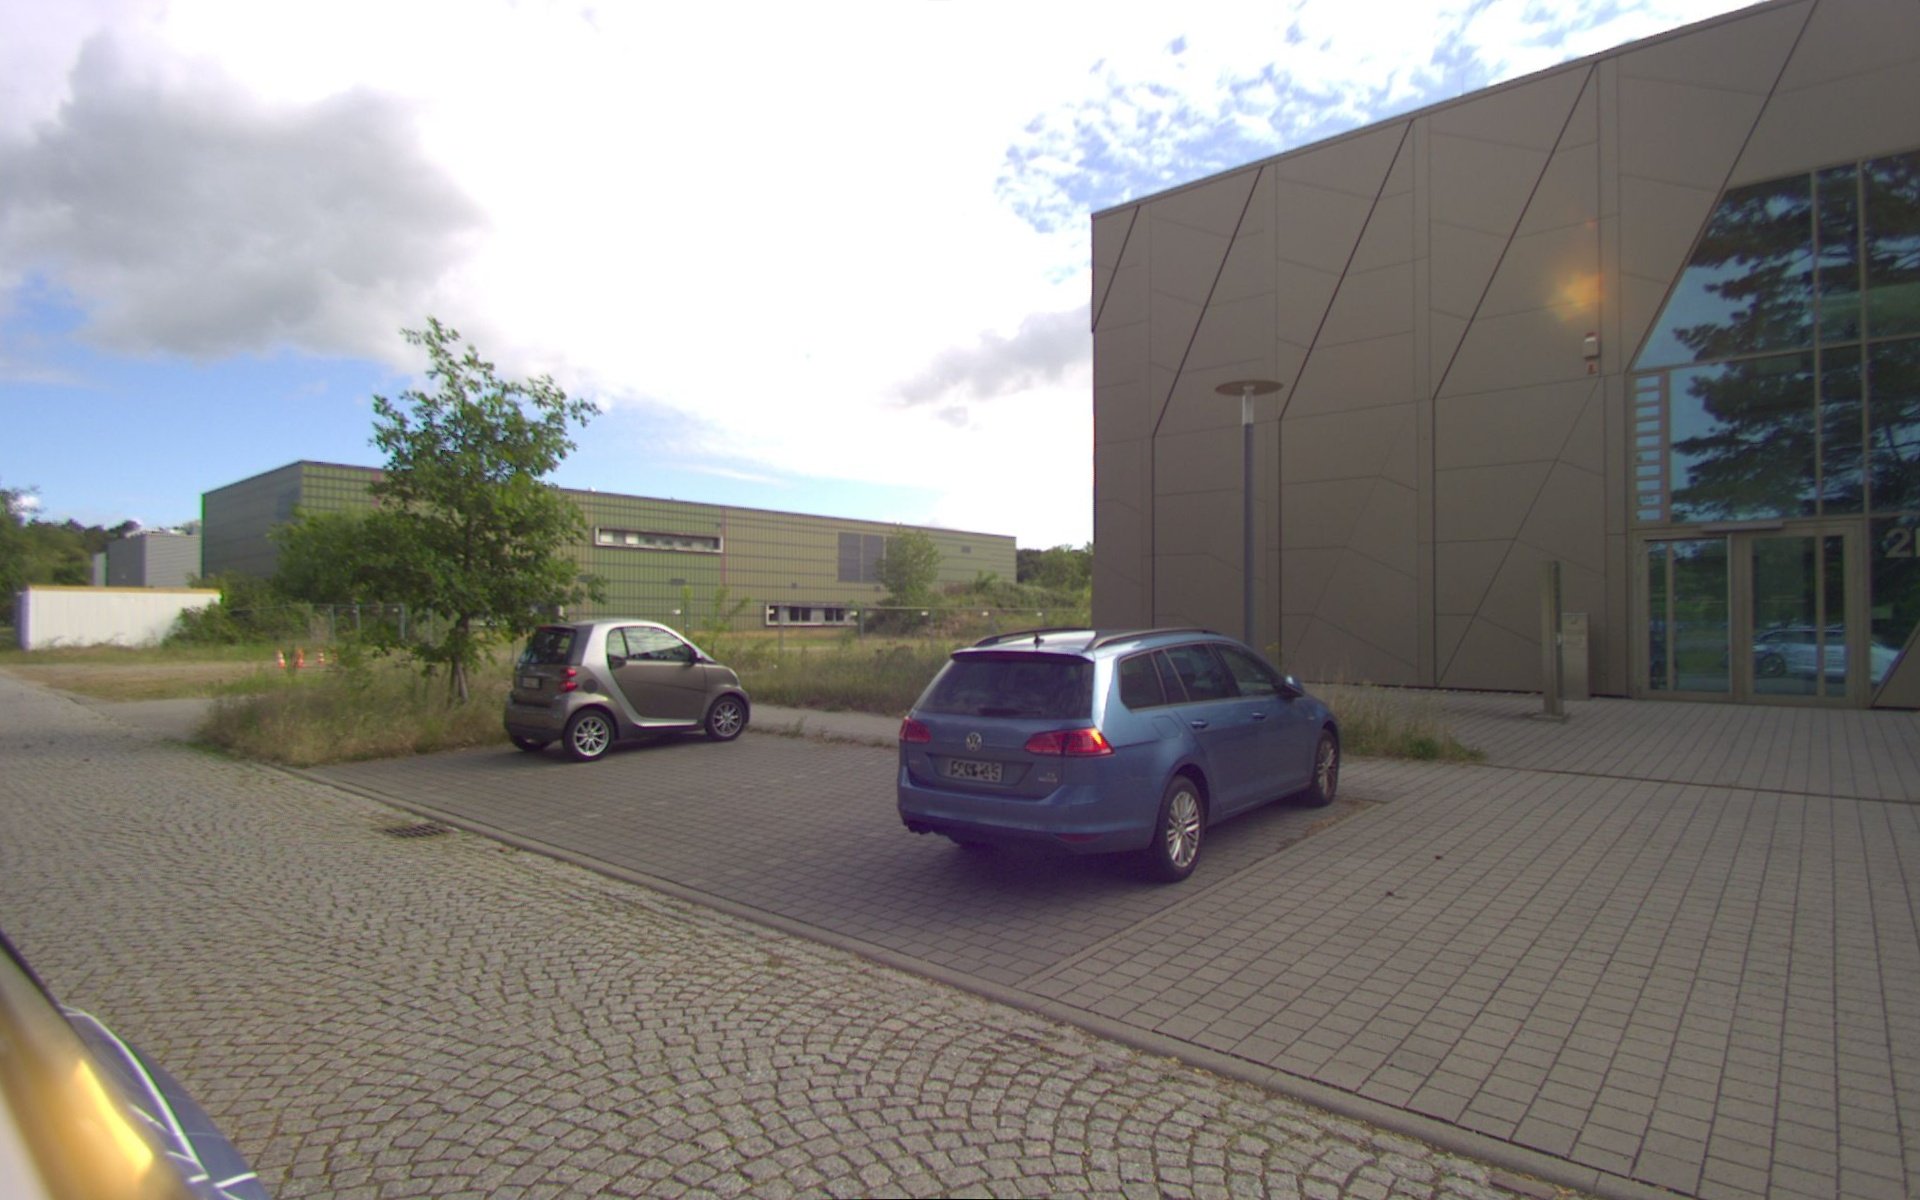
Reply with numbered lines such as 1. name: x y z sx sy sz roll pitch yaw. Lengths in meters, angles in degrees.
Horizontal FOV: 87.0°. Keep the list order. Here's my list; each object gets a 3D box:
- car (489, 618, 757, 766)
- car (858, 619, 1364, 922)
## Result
1. car: -4.016 1.005 12.253 1.609 1.523 2.627 -2 -1 40
2. car: 1.377 0.907 7.337 1.771 1.439 4.264 -1 -1 38
